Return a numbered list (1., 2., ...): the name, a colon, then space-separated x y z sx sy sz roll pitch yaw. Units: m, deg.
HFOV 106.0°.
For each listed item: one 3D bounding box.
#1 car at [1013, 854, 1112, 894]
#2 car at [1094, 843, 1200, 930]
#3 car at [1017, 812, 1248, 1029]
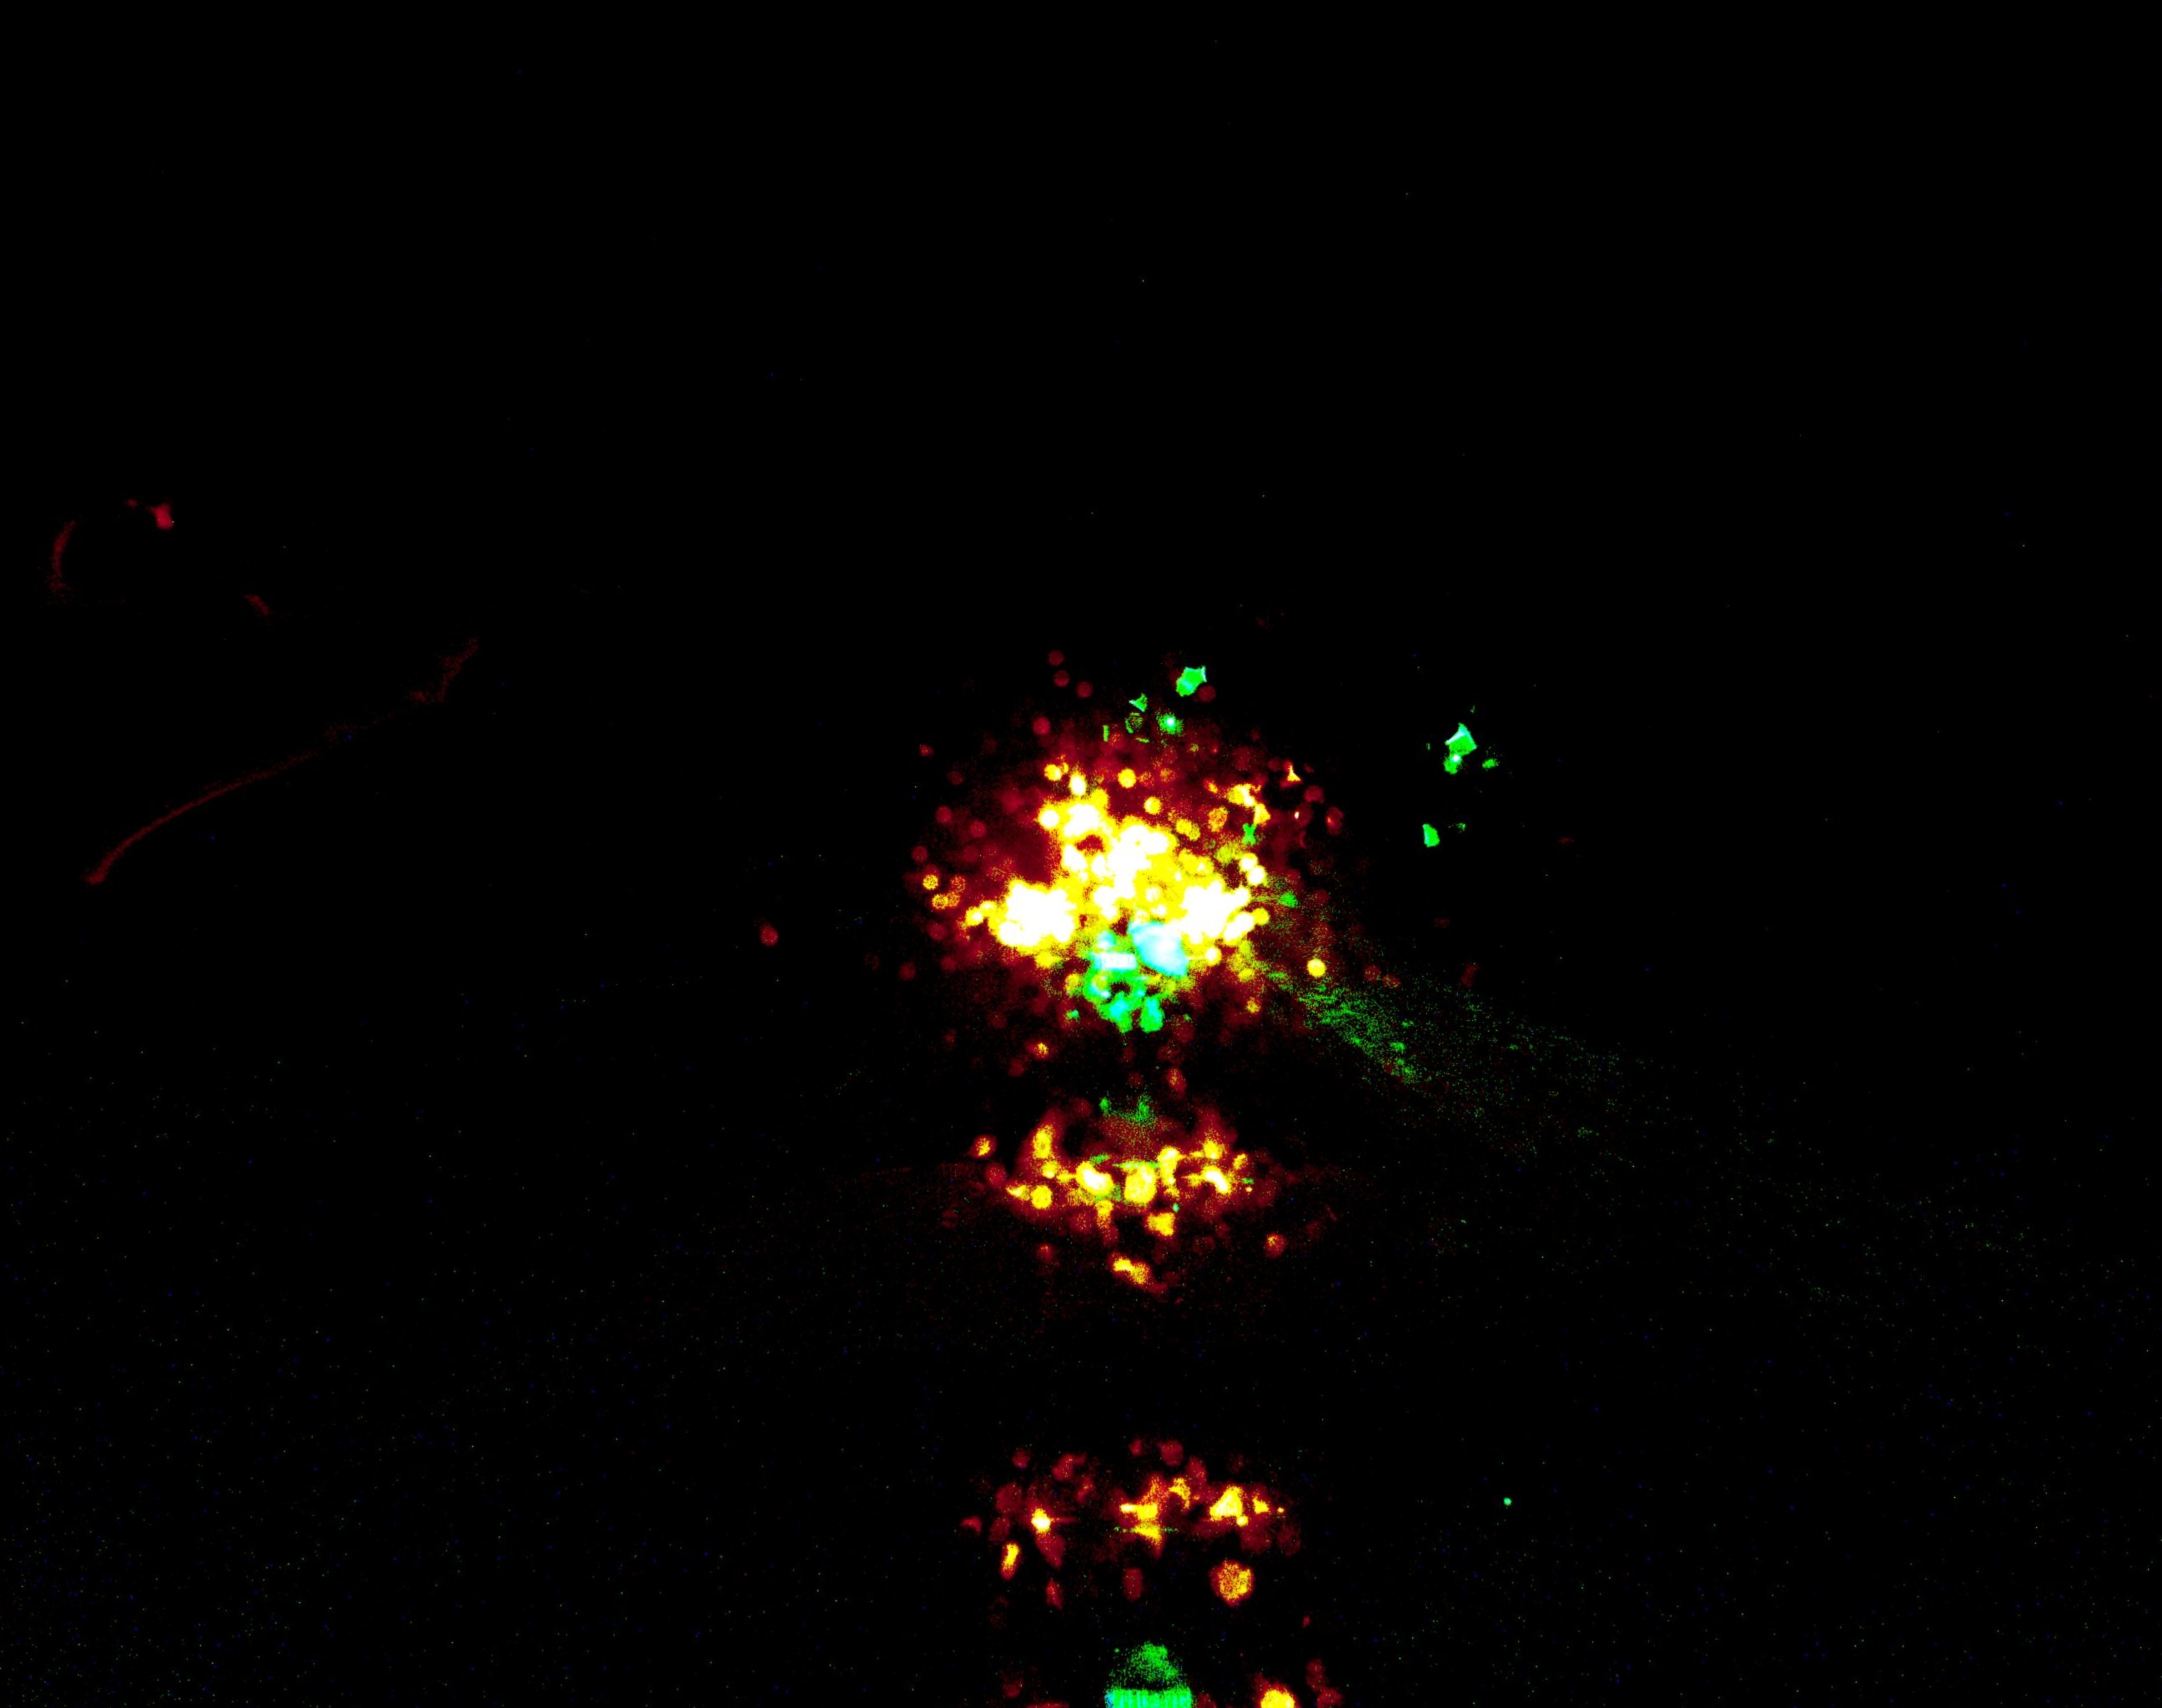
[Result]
1. car: -0.939 1.042 42.242 4.651 1.793 2.008 -3 -2 15
2. car: 1.302 0.519 15.679 1.735 1.415 4.006 -2 1 5
3. car: 0.518 0.491 8.367 1.783 1.681 3.908 -1 1 3
